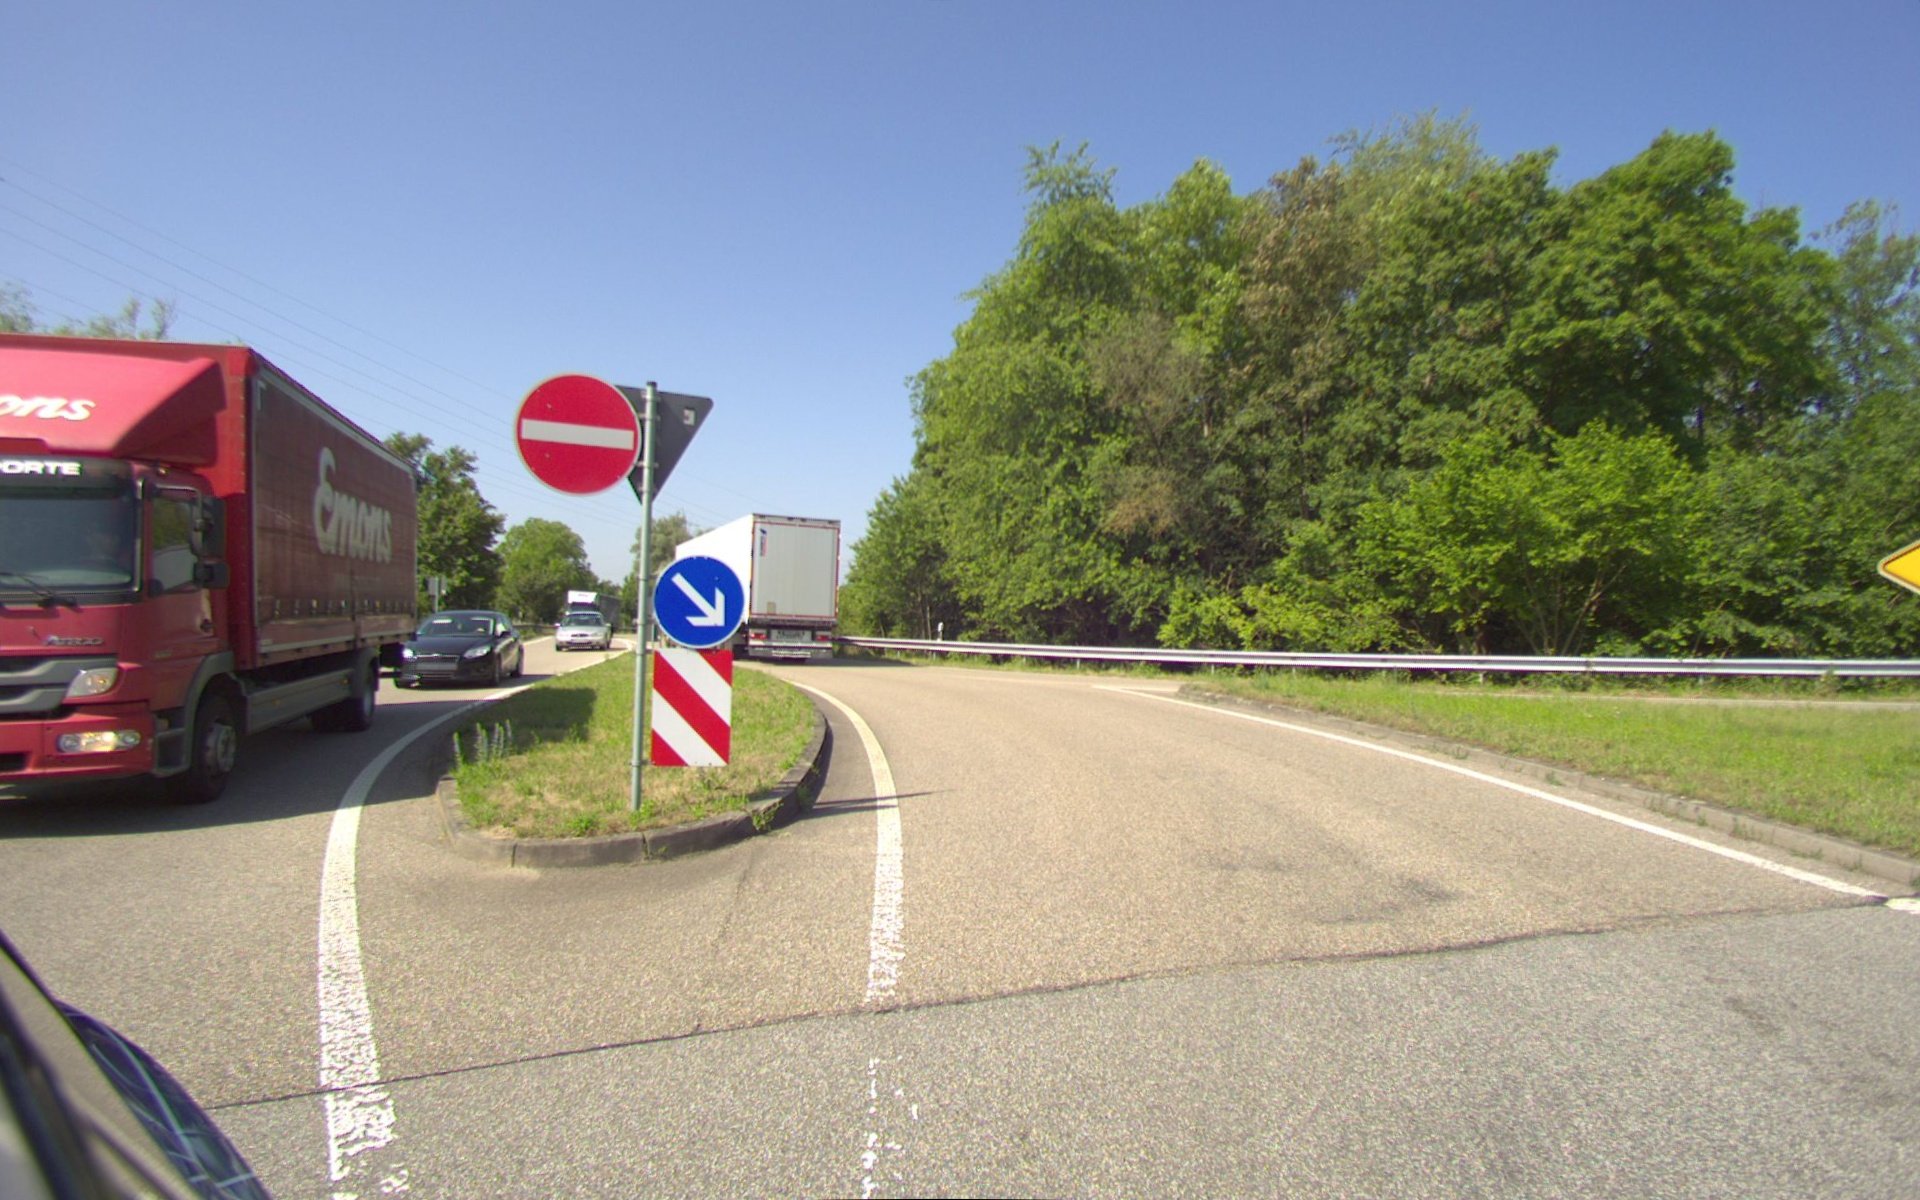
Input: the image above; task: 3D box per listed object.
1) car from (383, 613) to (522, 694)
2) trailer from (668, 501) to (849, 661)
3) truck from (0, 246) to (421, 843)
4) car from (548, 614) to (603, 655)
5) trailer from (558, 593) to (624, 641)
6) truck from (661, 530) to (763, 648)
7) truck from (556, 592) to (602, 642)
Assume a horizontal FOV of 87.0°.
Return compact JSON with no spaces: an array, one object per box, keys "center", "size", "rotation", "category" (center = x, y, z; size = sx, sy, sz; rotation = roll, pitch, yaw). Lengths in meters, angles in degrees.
[{"center":[-9.932,0.975,20.106],"size":[1.758,1.425,4.012],"rotation":[0,-1,-16],"category":"car"},{"center":[-7.213,-0.433,33.600],"size":[2.846,4.197,14.027],"rotation":[0,-1,-24],"category":"trailer"},{"center":[-7.899,-0.292,10.478],"size":[2.645,3.689,9.291],"rotation":[0,-1,-19],"category":"truck"},{"center":[-13.955,1.201,36.851],"size":[1.758,1.396,4.392],"rotation":[0,-1,-20],"category":"car"},{"center":[-35.763,1.698,98.735],"size":[2.885,4.272,14.003],"rotation":[2,-2,-8],"category":"trailer"},{"center":[-9.757,-0.391,39.292],"size":[2.830,4.205,5.990],"rotation":[0,0,-24],"category":"truck"},{"center":[-34.697,1.570,92.307],"size":[2.893,4.270,5.746],"rotation":[2,-2,-11],"category":"truck"}]
